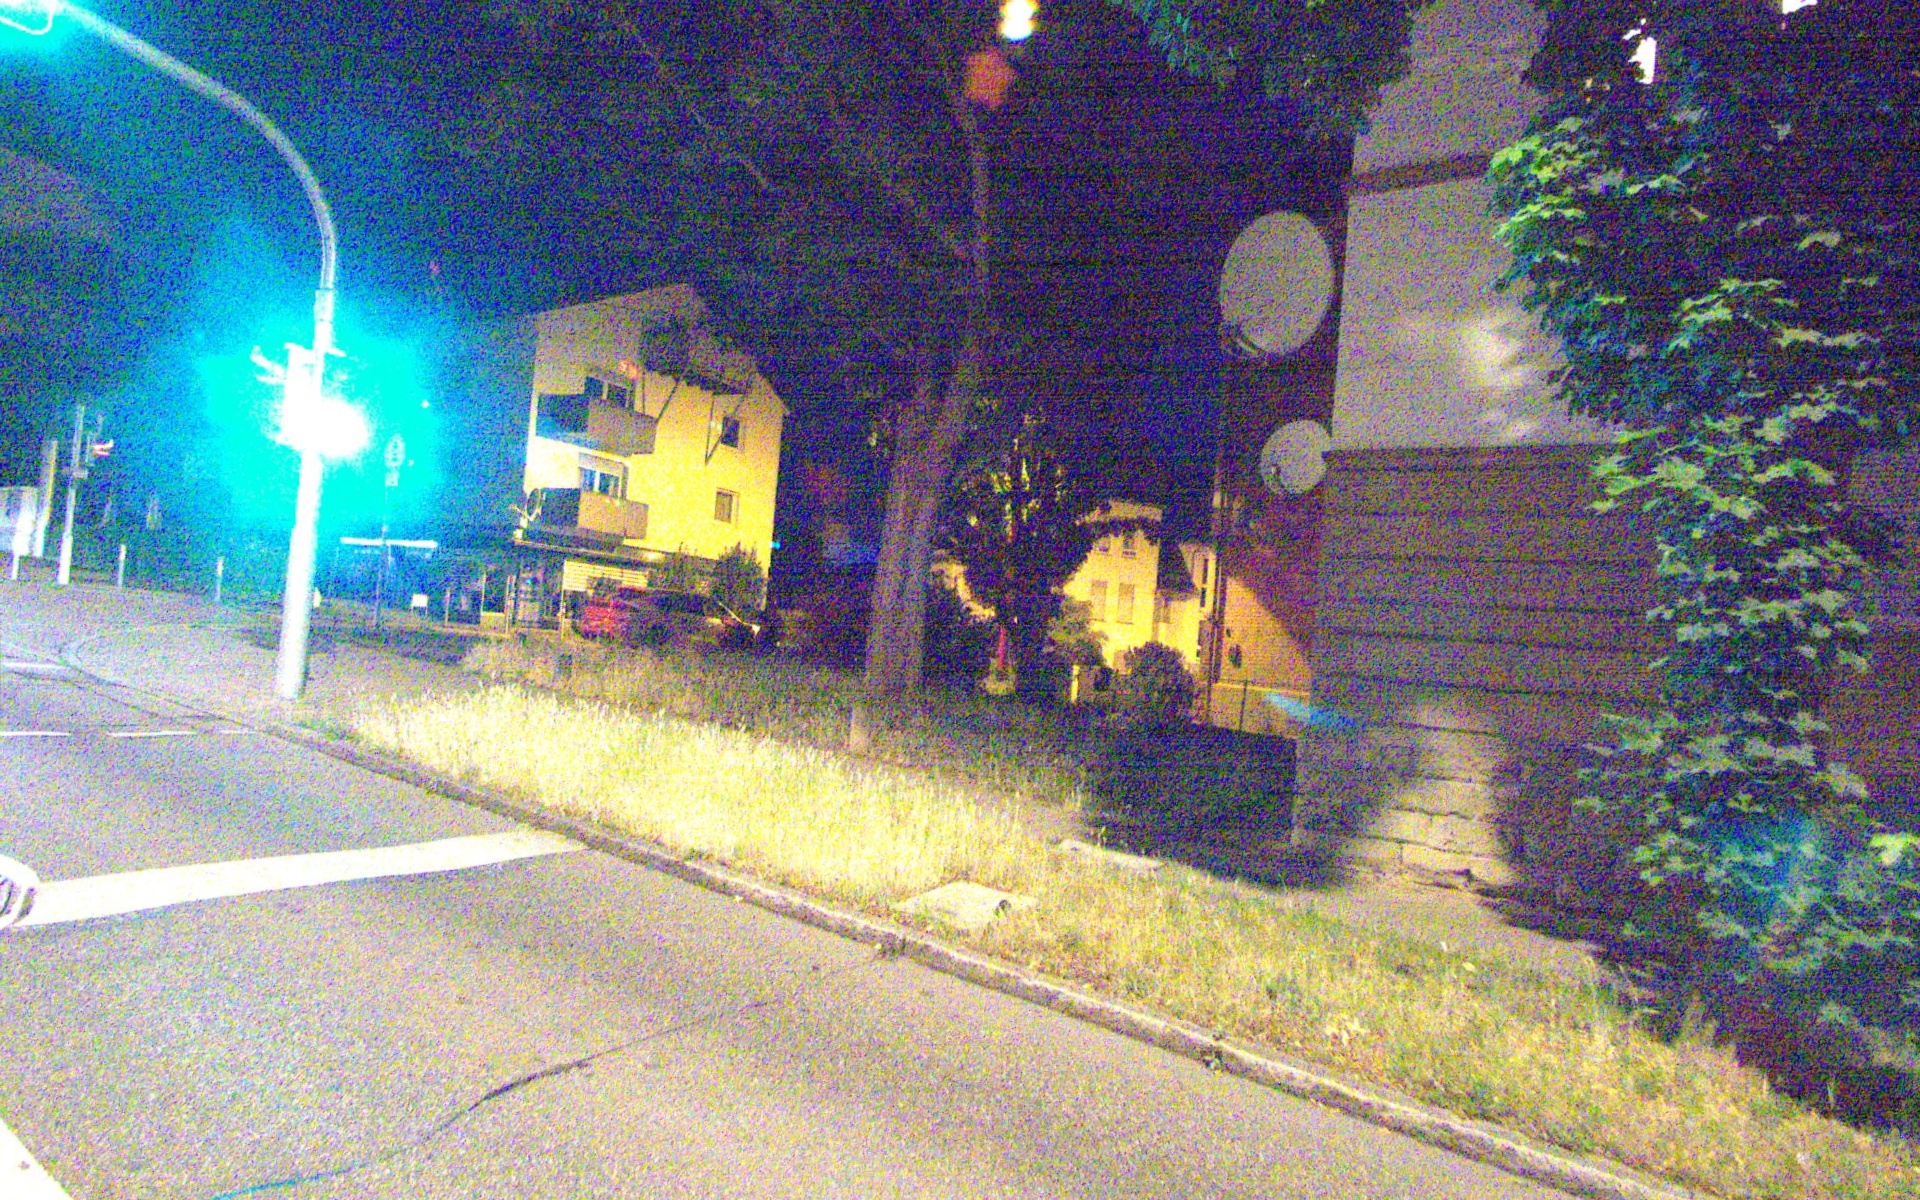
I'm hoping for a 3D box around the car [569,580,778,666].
[{"bbox_3d":[-6.510,0.583,23.297,1.778,1.577,4.366,3,-3,38],"label":"car"}]
